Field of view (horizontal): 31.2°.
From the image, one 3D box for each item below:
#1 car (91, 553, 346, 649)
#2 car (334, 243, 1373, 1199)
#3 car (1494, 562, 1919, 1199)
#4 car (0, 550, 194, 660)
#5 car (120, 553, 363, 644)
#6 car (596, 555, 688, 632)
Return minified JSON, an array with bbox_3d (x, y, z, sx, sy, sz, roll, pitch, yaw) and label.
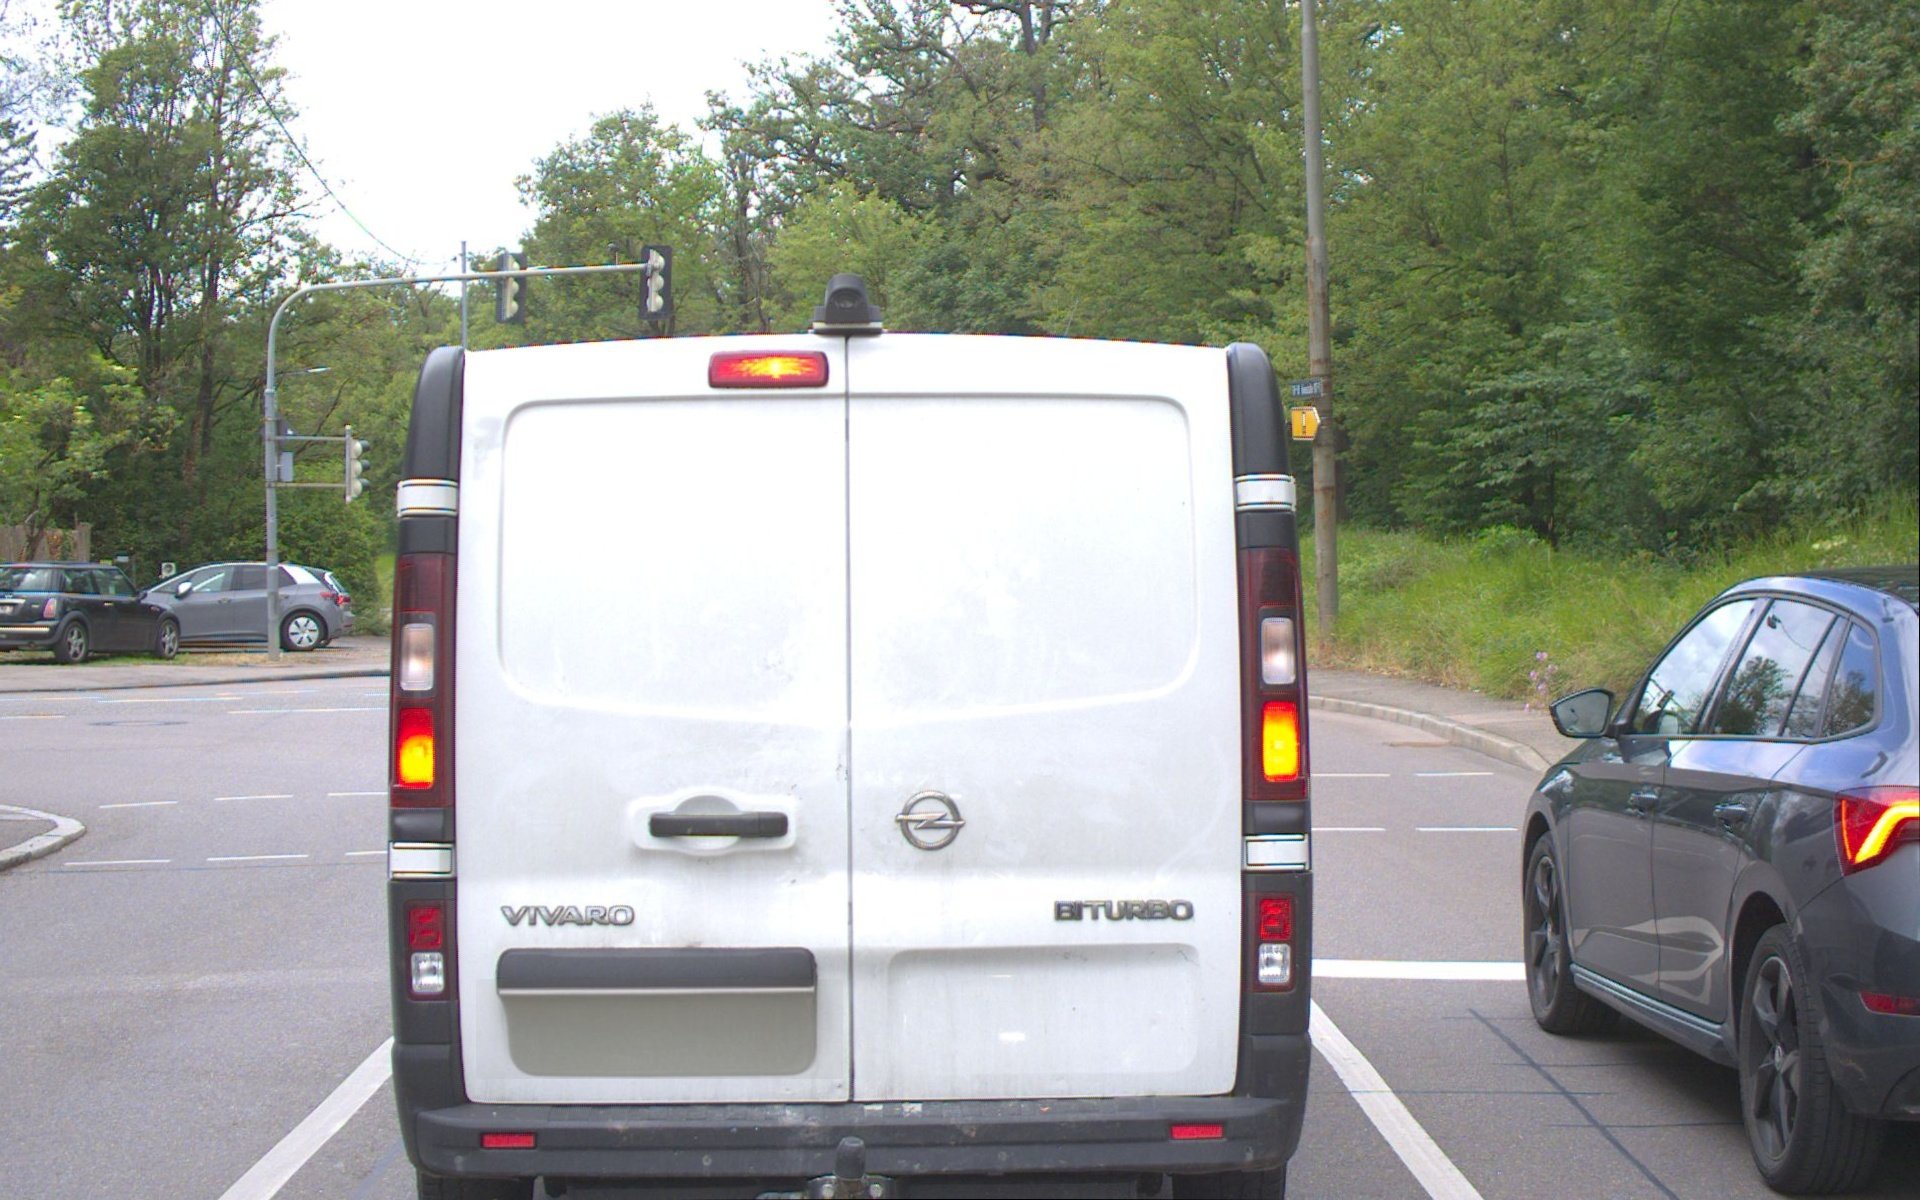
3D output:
[{"bbox_3d":[-12.604,-0.001,58.380,4.085,1.548,1.855,-1,2,-17],"label":"car"},{"bbox_3d":[-0.307,0.337,8.769,1.916,2.046,4.615,1,1,-3],"label":"car"},{"bbox_3d":[2.682,0.639,9.135,1.792,1.445,4.000,0,1,-2],"label":"car"},{"bbox_3d":[-12.421,0.049,48.043,1.699,1.444,3.539,2,1,19],"label":"car"},{"bbox_3d":[-12.844,-0.045,61.415,4.085,1.548,1.855,-1,2,-17],"label":"car"},{"bbox_3d":[-6.590,-0.158,71.477,1.856,1.501,4.001,0,1,-5],"label":"car"}]
